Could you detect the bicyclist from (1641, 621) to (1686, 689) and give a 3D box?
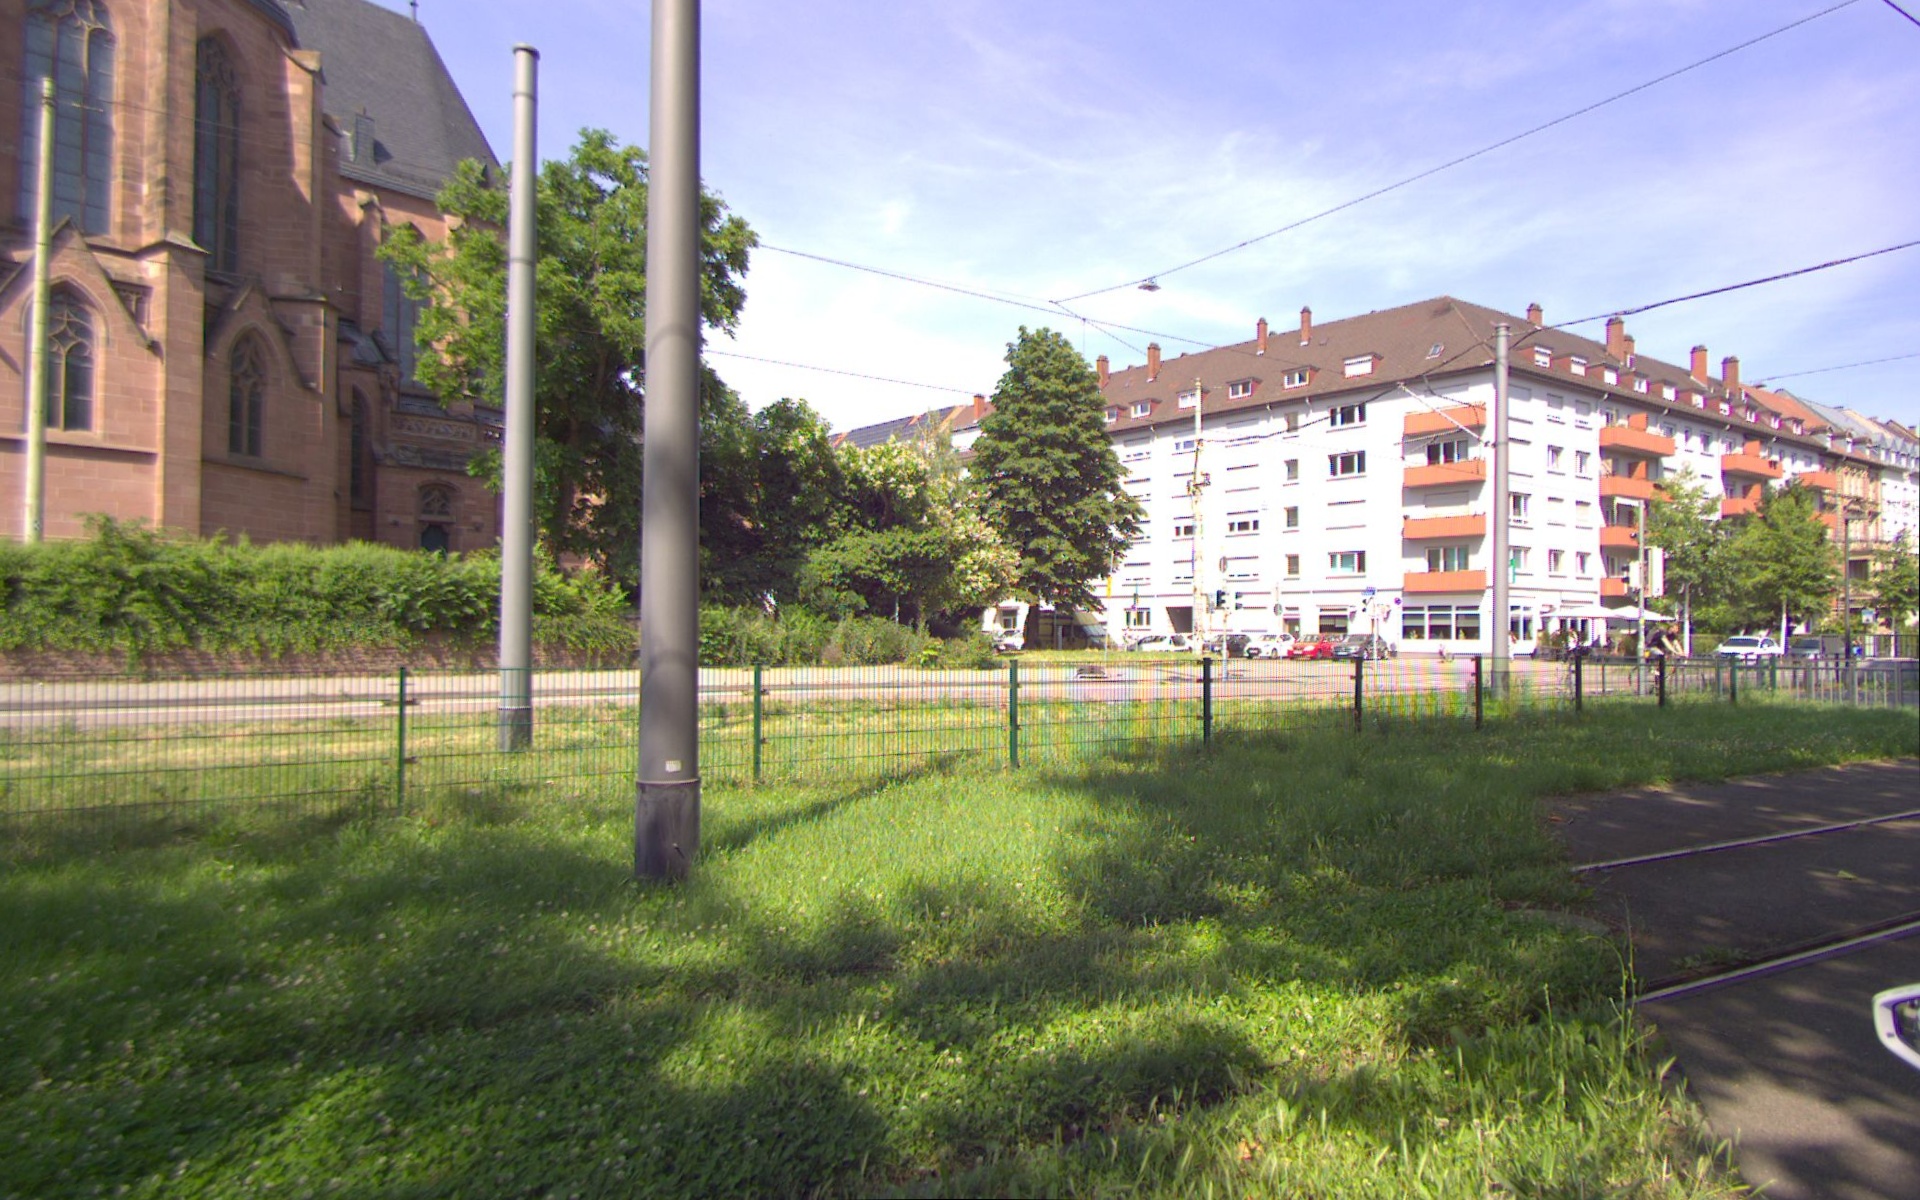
[{"bbox_3d":[17.253,1.345,24.632,0.617,1.644,0.690,1,-2,-28],"label":"bicyclist"}]

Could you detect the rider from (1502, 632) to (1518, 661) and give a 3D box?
[{"bbox_3d":[27.820,2.366,50.822,0.616,1.442,0.587,-1,-2,42],"label":"rider"}]

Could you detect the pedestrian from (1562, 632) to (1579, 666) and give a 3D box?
[{"bbox_3d":[29.389,2.344,48.340,0.678,1.593,0.544,-1,-2,35],"label":"pedestrian"}]

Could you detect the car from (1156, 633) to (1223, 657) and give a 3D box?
[{"bbox_3d":[14.062,2.720,61.480,4.131,1.425,1.917,2,-2,-39],"label":"car"}]

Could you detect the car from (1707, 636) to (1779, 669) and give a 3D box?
[{"bbox_3d":[37.696,2.501,48.332,3.963,1.517,1.758,2,-4,-37],"label":"car"}]

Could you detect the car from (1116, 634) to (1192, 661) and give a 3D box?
[{"bbox_3d":[10.496,2.541,54.459,3.700,1.425,1.823,-1,-2,43],"label":"car"}]

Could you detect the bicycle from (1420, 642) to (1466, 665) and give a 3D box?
[{"bbox_3d":[24.558,2.692,51.045,2.780,1.152,0.905,2,-2,-35],"label":"bicycle"}]

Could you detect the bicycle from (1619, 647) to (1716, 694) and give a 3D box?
[{"bbox_3d":[17.270,1.698,24.577,0.526,1.063,1.912,1,-2,-28],"label":"bicycle"}]

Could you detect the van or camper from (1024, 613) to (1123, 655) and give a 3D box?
[{"bbox_3d":[6.579,1.988,58.773,2.229,2.360,5.702,2,-2,-43],"label":"van or camper"}]

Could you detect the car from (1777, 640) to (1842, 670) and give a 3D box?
[{"bbox_3d":[44.755,2.874,52.910,3.963,1.517,1.758,2,-4,-37],"label":"car"}]

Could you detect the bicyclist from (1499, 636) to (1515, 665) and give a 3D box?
[{"bbox_3d":[27.422,2.531,50.365,0.616,1.442,0.587,-1,-2,42],"label":"bicyclist"}]

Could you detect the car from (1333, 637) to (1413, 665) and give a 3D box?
[{"bbox_3d":[21.759,2.657,52.852,4.600,1.394,1.820,2,-2,-37],"label":"car"}]

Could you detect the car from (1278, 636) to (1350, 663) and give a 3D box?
[{"bbox_3d":[19.539,2.724,55.399,4.131,1.425,1.917,2,-2,-39],"label":"car"}]

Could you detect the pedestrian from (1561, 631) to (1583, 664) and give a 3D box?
[{"bbox_3d":[29.767,2.312,48.841,0.846,1.593,0.688,-1,-2,35],"label":"pedestrian"}]

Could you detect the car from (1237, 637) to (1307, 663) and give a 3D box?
[{"bbox_3d":[17.949,2.869,57.680,4.131,1.425,1.917,2,-2,-39],"label":"car"}]

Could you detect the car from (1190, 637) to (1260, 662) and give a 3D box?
[{"bbox_3d":[15.629,2.879,59.196,4.131,1.425,1.917,2,-2,-39],"label":"car"}]
